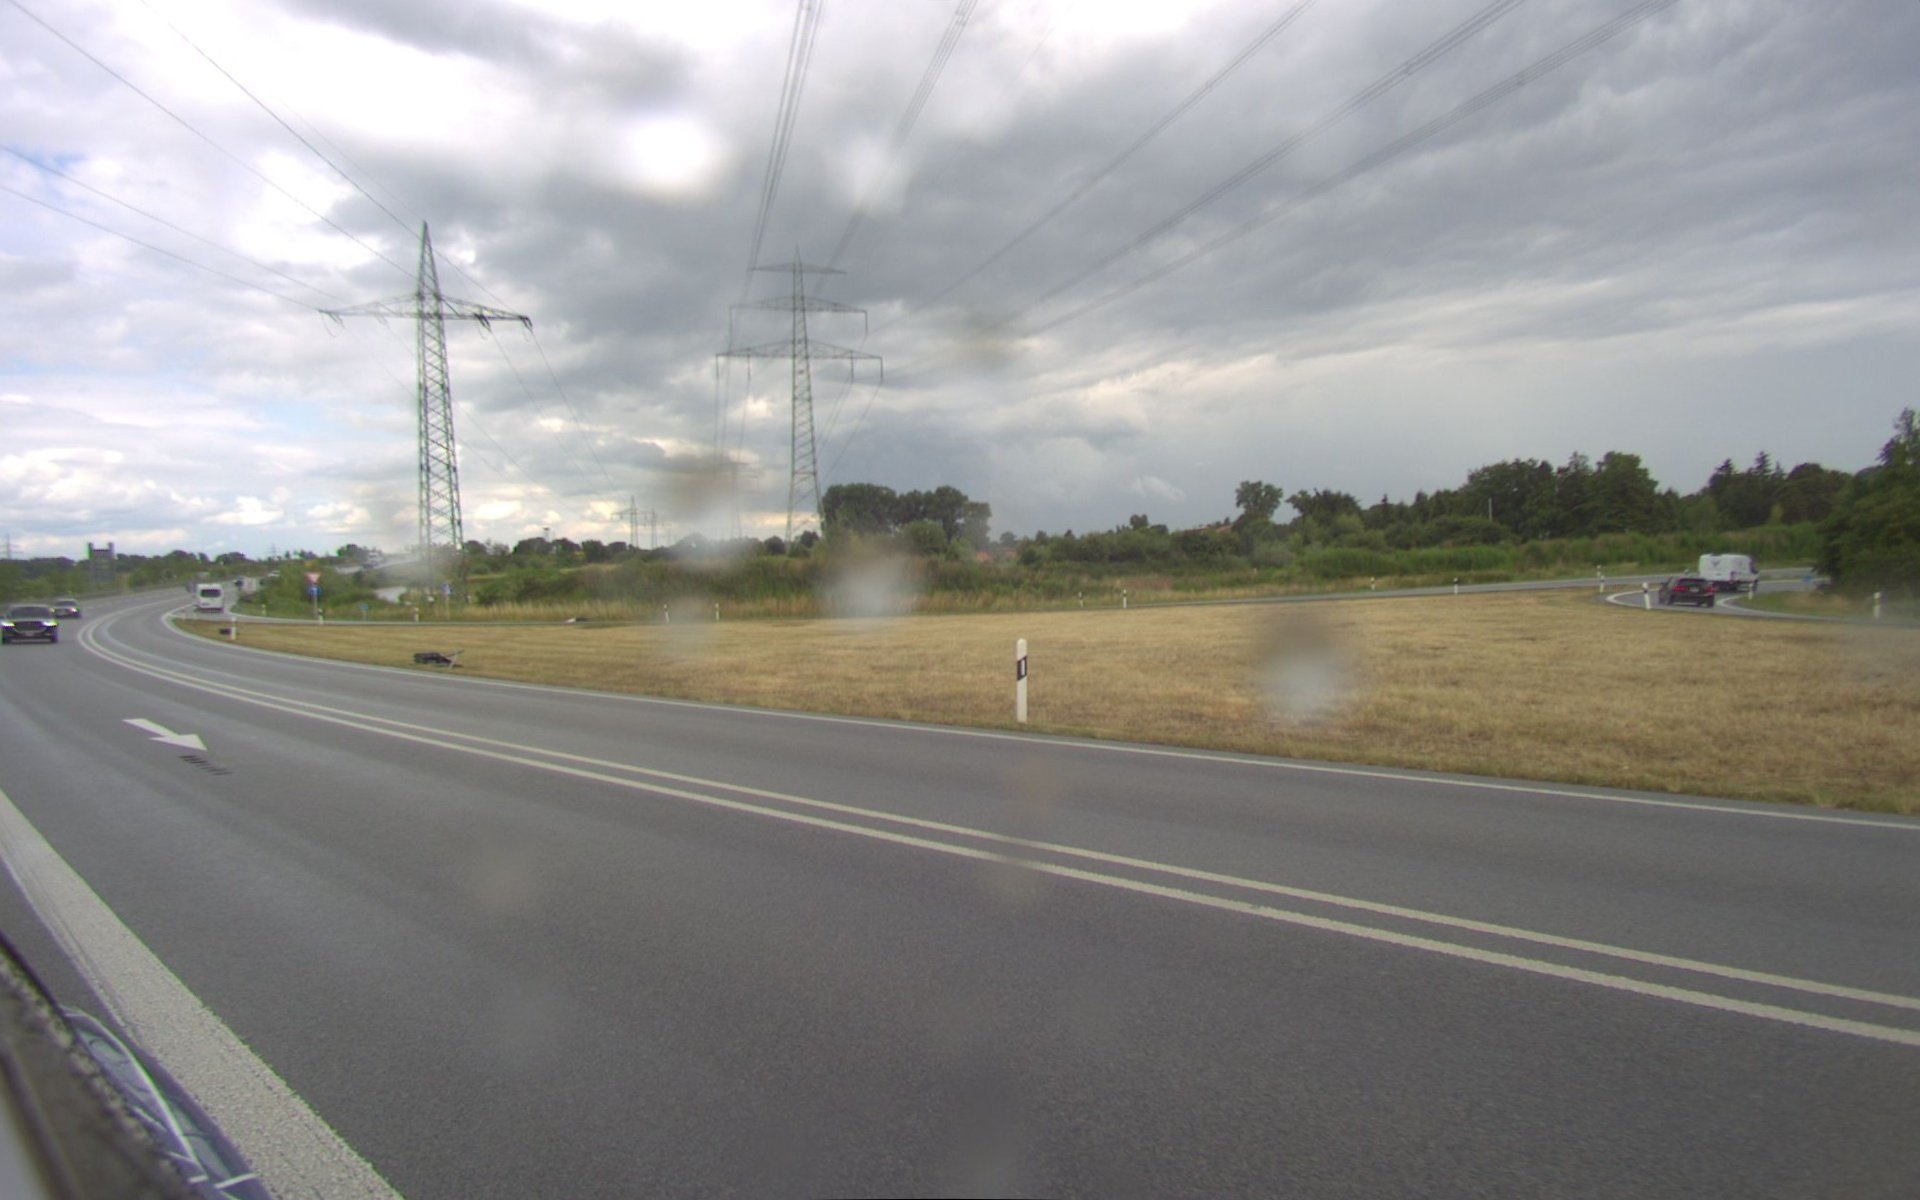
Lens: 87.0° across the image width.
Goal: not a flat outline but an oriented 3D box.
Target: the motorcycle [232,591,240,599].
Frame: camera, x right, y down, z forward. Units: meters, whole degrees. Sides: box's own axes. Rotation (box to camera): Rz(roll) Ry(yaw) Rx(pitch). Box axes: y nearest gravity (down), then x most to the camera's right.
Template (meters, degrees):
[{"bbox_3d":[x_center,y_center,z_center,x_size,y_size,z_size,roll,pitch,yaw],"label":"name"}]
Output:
[{"bbox_3d":[-115.370,-0.720,161.222,0.791,1.247,2.192,-1,0,-29],"label":"motorcycle"}]

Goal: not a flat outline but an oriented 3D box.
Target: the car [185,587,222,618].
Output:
[{"bbox_3d":[-71.202,0.225,95.229,2.180,2.770,6.029,-2,2,-42],"label":"car"}]

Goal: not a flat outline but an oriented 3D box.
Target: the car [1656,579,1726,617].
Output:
[{"bbox_3d":[34.936,-0.111,48.455,1.976,1.615,3.884,0,3,25],"label":"car"}]

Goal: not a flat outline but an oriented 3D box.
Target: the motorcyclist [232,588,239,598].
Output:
[{"bbox_3d":[-115.363,-1.165,161.182,0.791,1.546,0.827,-1,0,-29],"label":"motorcyclist"}]

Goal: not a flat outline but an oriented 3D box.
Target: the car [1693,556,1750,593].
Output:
[{"bbox_3d":[50.803,-1.704,67.480,2.443,2.408,5.392,1,2,43],"label":"car"}]

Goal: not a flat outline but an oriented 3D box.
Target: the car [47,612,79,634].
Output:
[{"bbox_3d":[-69.318,1.785,78.244,1.723,1.508,4.056,-2,2,-41],"label":"car"}]

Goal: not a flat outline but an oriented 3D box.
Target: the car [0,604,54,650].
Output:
[{"bbox_3d":[-40.400,1.119,43.624,1.771,1.782,4.002,-2,2,-45],"label":"car"}]
